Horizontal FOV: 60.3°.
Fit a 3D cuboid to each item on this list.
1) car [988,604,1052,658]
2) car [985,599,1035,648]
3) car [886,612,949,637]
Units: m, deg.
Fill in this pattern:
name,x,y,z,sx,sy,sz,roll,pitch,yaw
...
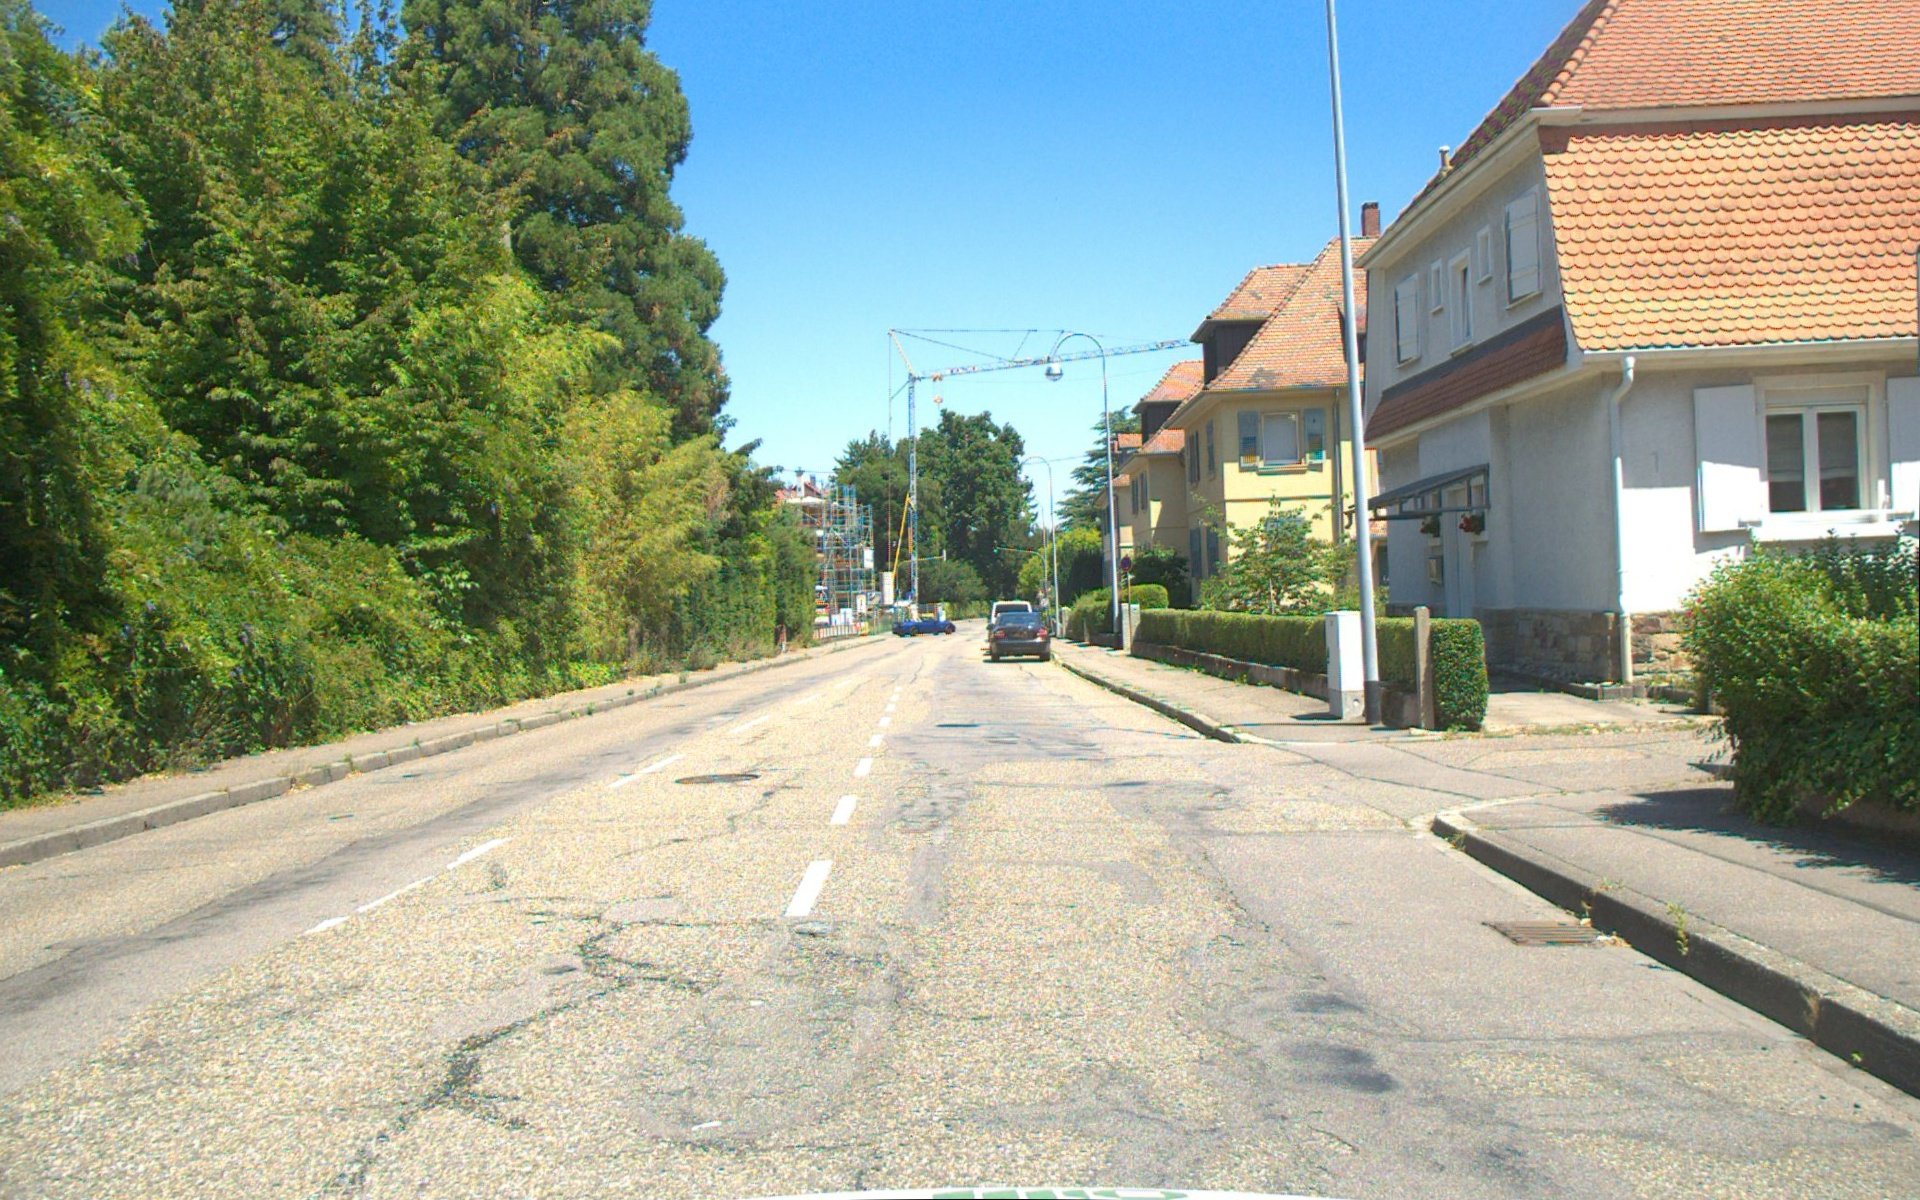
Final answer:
name,x,y,z,sx,sy,sz,roll,pitch,yaw
car,1.705,0.910,48.349,1.658,1.443,4.550,-2,-1,0
car,2.022,0.949,68.272,1.952,1.934,4.822,0,-1,0
car,-2.975,1.714,115.528,3.946,1.494,1.945,-3,1,-30
